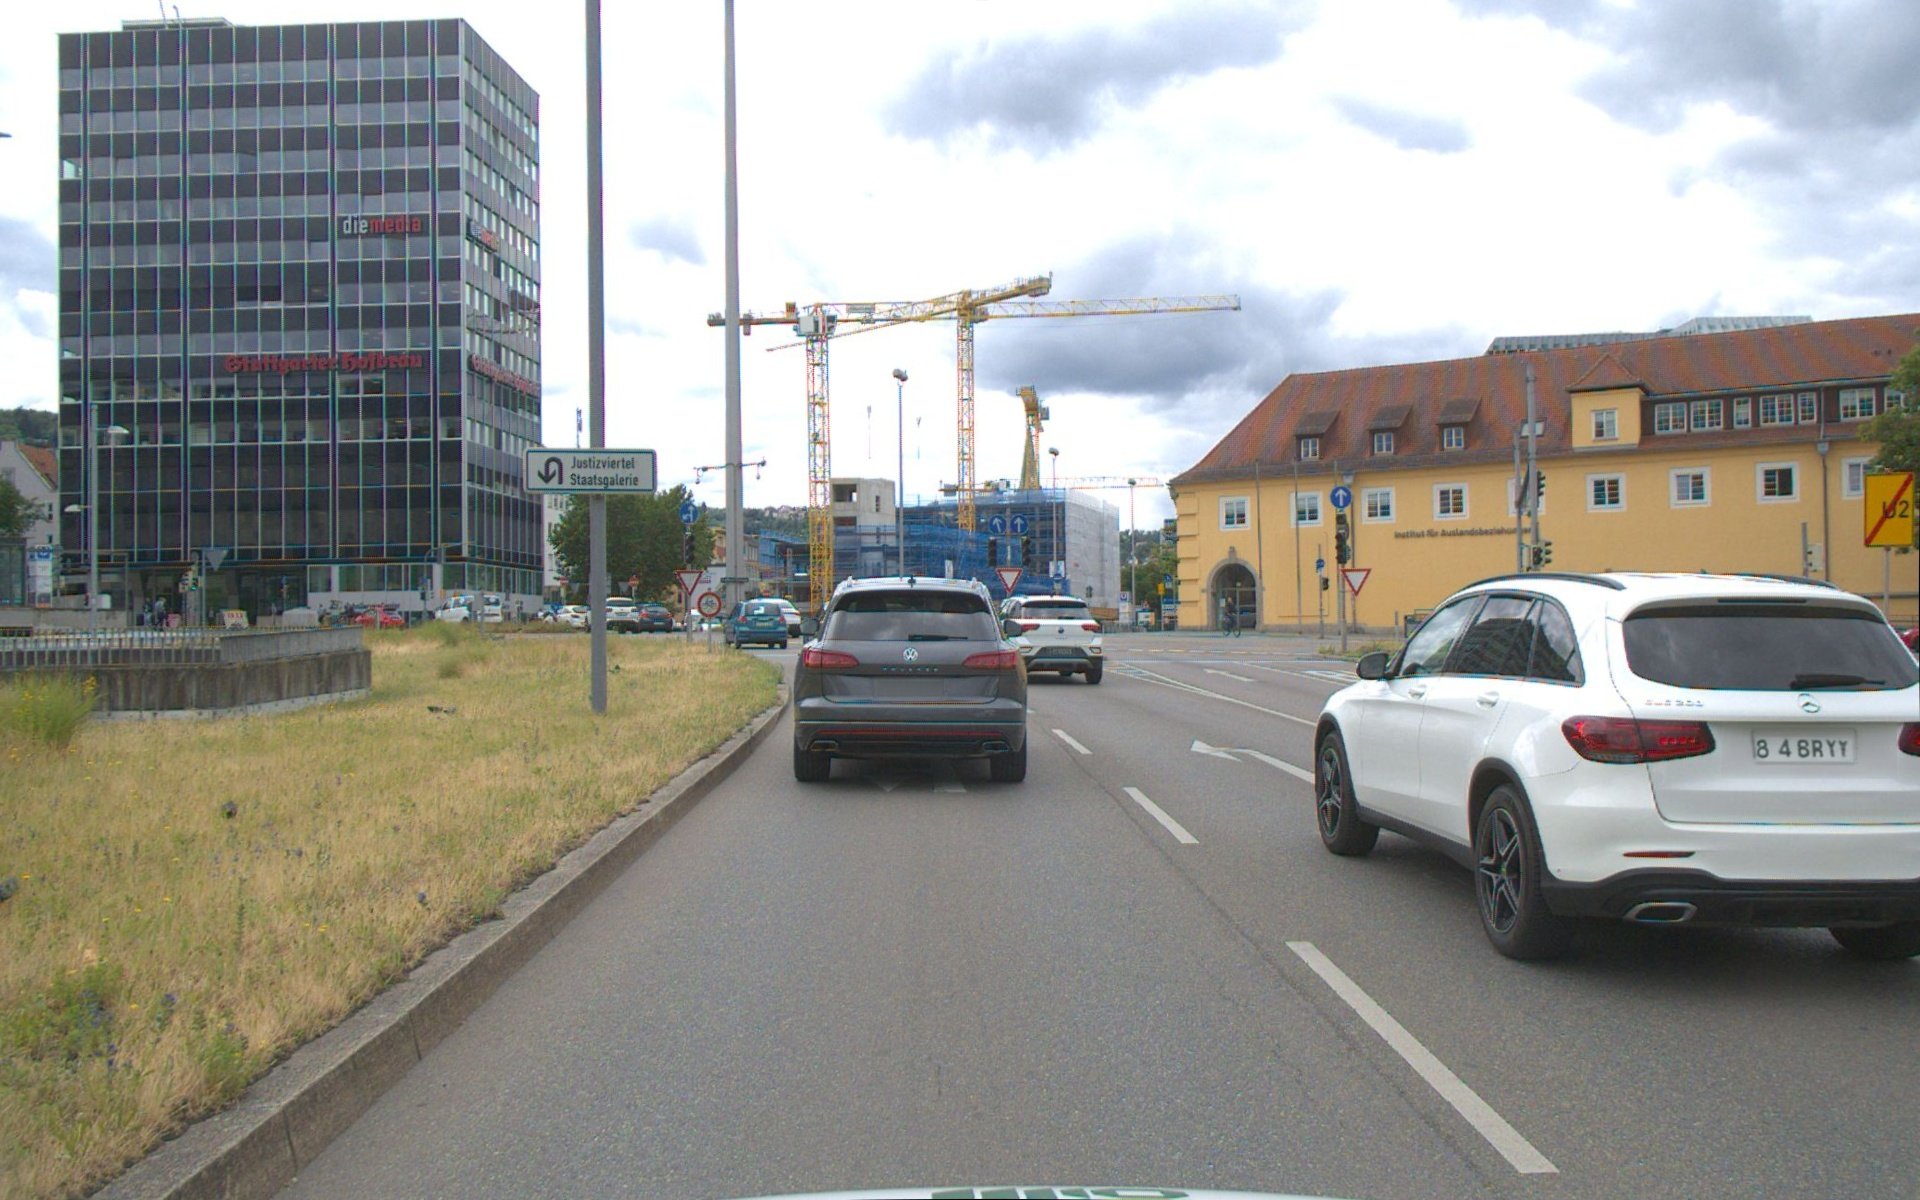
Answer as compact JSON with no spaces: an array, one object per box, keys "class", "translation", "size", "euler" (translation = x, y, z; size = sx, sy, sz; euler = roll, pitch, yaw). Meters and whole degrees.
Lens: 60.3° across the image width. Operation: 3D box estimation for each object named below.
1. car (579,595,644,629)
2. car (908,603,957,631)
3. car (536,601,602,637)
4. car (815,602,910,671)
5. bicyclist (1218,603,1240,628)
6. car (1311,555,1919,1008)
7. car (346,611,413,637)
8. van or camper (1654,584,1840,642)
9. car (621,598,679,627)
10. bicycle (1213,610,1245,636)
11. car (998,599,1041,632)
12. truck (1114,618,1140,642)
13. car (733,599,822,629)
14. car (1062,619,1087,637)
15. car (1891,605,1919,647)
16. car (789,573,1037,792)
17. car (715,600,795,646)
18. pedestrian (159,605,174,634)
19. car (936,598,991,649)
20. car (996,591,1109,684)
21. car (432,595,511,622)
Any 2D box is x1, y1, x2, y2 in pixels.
[{"class":"car","translation":[-16.218,0.517,76.837],"size":[1.797,1.522,3.863],"euler":[0,0,-32]},{"class":"car","translation":[-1.682,1.040,102.298],"size":[1.946,1.696,3.983],"euler":[0,0,17]},{"class":"car","translation":[-22.282,1.042,94.103],"size":[1.887,1.638,3.936],"euler":[-5,7,-44]},{"class":"car","translation":[-2.141,0.748,35.529],"size":[1.759,1.380,4.063],"euler":[0,0,-8]},{"class":"bicyclist","translation":[12.902,0.743,79.348],"size":[0.905,1.179,0.724],"euler":[1,0,-6]},{"class":"car","translation":[3.179,0.658,8.347],"size":[1.782,1.676,4.378],"euler":[0,0,-2]},{"class":"car","translation":[-35.563,1.462,101.273],"size":[3.893,1.529,1.721],"euler":[0,0,29]},{"class":"van or camper","translation":[28.634,0.472,60.266],"size":[5.902,2.049,2.012],"euler":[0,0,35]},{"class":"car","translation":[-15.789,0.630,84.089],"size":[1.626,1.421,3.554],"euler":[0,0,-34]},{"class":"bicycle","translation":[12.893,1.086,79.357],"size":[0.905,1.179,2.462],"euler":[1,0,-5]},{"class":"car","translation":[2.820,0.725,79.431],"size":[1.767,1.529,3.979],"euler":[0,0,-3]},{"class":"truck","translation":[18.053,3.214,178.695],"size":[2.082,2.496,4.831],"euler":[0,0,14]},{"class":"car","translation":[-7.302,0.545,65.991],"size":[1.659,1.159,4.013],"euler":[0,0,-38]},{"class":"car","translation":[10.258,2.523,148.167],"size":[1.764,1.529,3.984],"euler":[0,0,11]},{"class":"car","translation":[34.410,0.875,56.400],"size":[4.592,1.445,1.593],"euler":[0,0,31]},{"class":"car","translation":[-0.385,0.619,14.662],"size":[1.893,1.676,3.999],"euler":[0,0,-1]},{"class":"car","translation":[-6.496,0.709,52.187],"size":[1.765,1.380,4.049],"euler":[0,0,-18]},{"class":"pedestrian","translation":[-45.305,1.119,94.423],"size":[0.618,1.621,0.582],"euler":[1,-1,-41]},{"class":"car","translation":[0.116,0.720,52.516],"size":[1.683,1.529,4.144],"euler":[0,0,0]},{"class":"car","translation":[1.662,0.649,30.947],"size":[1.855,1.613,3.800],"euler":[0,0,-1]},{"class":"car","translation":[-28.013,0.473,94.875],"size":[4.524,1.529,2.241],"euler":[0,0,39]}]
